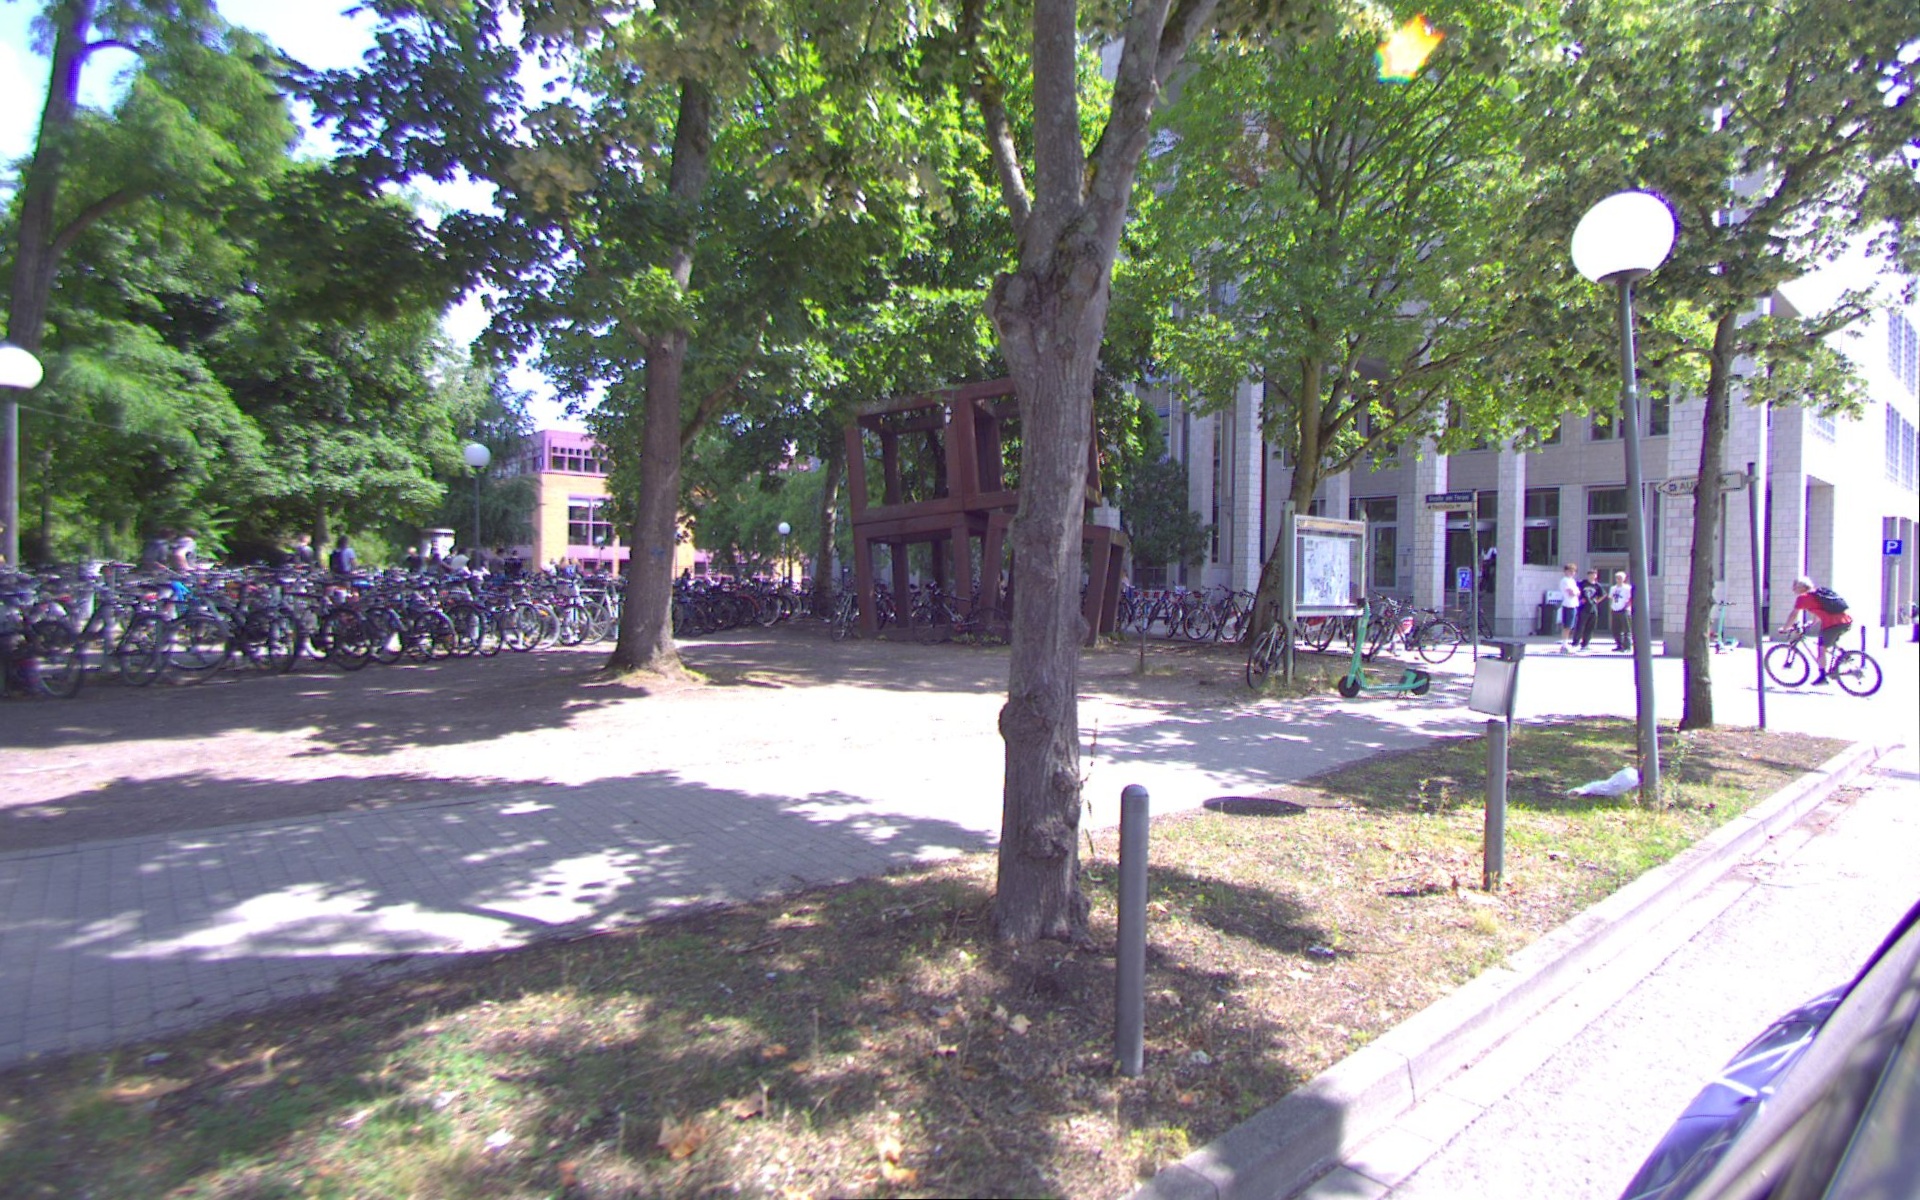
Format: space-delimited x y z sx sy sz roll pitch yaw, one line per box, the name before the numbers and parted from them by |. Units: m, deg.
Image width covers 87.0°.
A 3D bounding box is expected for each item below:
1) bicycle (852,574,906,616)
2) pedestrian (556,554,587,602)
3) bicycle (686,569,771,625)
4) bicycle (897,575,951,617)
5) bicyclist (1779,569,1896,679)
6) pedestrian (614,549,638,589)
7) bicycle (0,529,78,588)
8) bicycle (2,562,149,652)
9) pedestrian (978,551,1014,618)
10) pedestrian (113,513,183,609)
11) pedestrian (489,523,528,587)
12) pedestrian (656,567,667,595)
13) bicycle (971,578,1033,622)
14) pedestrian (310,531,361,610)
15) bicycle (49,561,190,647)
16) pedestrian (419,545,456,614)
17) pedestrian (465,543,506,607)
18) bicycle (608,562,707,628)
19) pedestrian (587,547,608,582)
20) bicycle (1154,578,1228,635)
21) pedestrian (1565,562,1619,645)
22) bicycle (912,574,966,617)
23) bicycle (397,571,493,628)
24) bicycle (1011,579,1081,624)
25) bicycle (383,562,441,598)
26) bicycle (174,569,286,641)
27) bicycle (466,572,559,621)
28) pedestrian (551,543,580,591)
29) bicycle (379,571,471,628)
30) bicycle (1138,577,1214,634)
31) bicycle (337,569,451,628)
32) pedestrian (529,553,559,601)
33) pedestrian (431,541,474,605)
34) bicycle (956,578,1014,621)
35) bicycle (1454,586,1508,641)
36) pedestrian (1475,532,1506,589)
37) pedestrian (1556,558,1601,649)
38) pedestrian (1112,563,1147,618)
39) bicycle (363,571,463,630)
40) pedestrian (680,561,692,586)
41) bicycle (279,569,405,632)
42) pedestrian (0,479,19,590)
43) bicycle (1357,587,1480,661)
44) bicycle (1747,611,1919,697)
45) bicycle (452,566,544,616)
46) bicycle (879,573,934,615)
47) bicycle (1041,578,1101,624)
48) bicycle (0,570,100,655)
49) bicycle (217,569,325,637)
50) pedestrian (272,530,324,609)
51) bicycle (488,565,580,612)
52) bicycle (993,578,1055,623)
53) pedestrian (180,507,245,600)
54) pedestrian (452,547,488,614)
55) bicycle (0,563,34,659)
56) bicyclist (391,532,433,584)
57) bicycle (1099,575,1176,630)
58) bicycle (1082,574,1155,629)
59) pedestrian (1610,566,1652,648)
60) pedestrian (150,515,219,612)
bicycle | -2.310 -0.127 29.047 0.453 1.144 1.661 -1 -2 44
pedestrian | -13.046 -0.739 34.010 0.731 1.589 0.721 2 1 1
bicycle | -5.138 -0.082 22.469 1.818 1.185 0.434 2 1 15
bicycle | -0.978 -0.097 27.980 0.453 1.144 1.661 -1 -2 44
bicyclist | 13.271 0.343 15.332 0.820 1.562 0.962 3 1 -15
pedestrian | -13.743 -1.272 41.617 0.730 1.589 0.721 1 1 -33
bicycle | -18.158 -0.821 19.832 1.586 1.107 0.477 2 2 12
bicycle | -11.663 0.071 13.345 1.875 1.096 0.477 2 2 14
pedestrian | 0.936 -0.401 26.426 0.427 1.725 0.929 0 -1 44
pedestrian | -15.579 -0.749 19.423 0.732 1.797 0.719 2 1 9
pedestrian | -13.141 -1.303 29.473 0.837 1.797 0.813 2 1 -8
pedestrian | -13.399 -0.862 45.410 0.379 1.227 0.403 1 1 -33
bicycle | 1.069 0.018 25.443 0.615 1.061 1.661 -1 -2 44
pedestrian | -14.623 -0.678 23.700 0.730 1.797 0.721 2 1 -3
bicycle | -11.575 0.039 13.933 1.875 1.096 0.477 2 2 14
pedestrian | -14.083 -0.552 27.281 0.729 1.797 0.722 1 1 -15
pedestrian | -13.815 -0.722 29.478 0.824 1.797 0.994 1 1 -11
bicycle | -5.780 -0.102 19.371 1.816 1.185 0.412 2 1 11
pedestrian | -16.449 -1.615 45.951 0.730 1.589 0.721 1 1 -33
bicycle | 4.848 0.143 21.234 1.664 1.139 0.482 2 1 -36
pedestrian | 14.181 0.072 22.723 0.796 1.819 0.619 1 1 6
bicycle | -0.562 -0.104 27.570 0.453 1.144 1.661 -1 -2 44
bicycle | -9.969 -0.015 19.600 1.714 1.035 0.477 2 2 9
bicycle | 2.078 0.043 24.395 1.663 1.061 0.618 1 -2 -33
bicycle | -15.892 -0.597 29.373 0.576 0.942 1.750 4 3 6
bicycle | -10.958 0.055 15.178 1.880 0.991 0.376 2 2 20
bicycle | -9.805 -0.084 22.195 1.871 0.991 0.478 2 2 6
pedestrian | -15.023 -1.260 38.550 0.732 1.812 0.720 2 1 5
bicycle | -10.233 -0.017 19.342 1.714 1.035 0.292 2 2 9
bicycle | 4.640 0.132 21.724 1.664 1.139 0.566 2 1 -36
bicycle | -10.176 -0.028 18.210 1.868 0.991 0.378 2 2 1
pedestrian | -13.930 -0.764 33.900 0.730 1.589 0.721 2 1 -4
pedestrian | -14.690 -0.767 29.320 0.824 1.797 0.994 1 1 -11
bicycle | 0.663 0.006 25.858 0.499 1.061 1.661 -1 -2 44
bicycle | 12.545 0.310 24.355 1.798 1.257 0.531 -1 2 -42
pedestrian | 16.542 -1.218 31.566 0.687 1.756 0.675 2 1 42
pedestrian | 13.389 0.063 21.902 0.675 1.914 0.685 -1 1 -44
pedestrian | 5.501 -0.322 32.871 0.930 1.762 0.741 1 1 30
bicycle | -10.245 0.000 18.968 1.714 1.035 0.477 2 2 9
pedestrian | -16.331 -1.582 60.280 0.445 1.446 0.594 4 2 11
bicycle | -10.323 0.001 16.925 1.867 0.991 0.379 2 2 0
pedestrian | -16.028 -1.075 16.326 0.954 1.797 0.963 2 1 27
bicycle | 7.587 0.389 16.772 1.749 1.155 0.607 1 3 -8
bicycle | 13.237 0.773 15.354 0.801 1.054 1.936 -3 3 -16
bicycle | -9.922 -0.207 21.748 1.874 0.991 0.477 2 2 12
bicycle | -1.485 -0.144 28.289 0.453 1.144 1.661 -1 -2 44
bicycle | 2.630 0.038 23.801 0.566 1.061 1.671 -1 -2 41
bicycle | -11.836 0.135 12.744 1.873 0.991 0.477 2 2 11
bicycle | -10.853 0.033 15.933 1.880 0.991 0.376 2 2 20
pedestrian | -15.509 -0.709 23.717 0.730 1.797 0.721 2 1 -3
bicycle | -9.643 -0.265 22.932 1.868 0.991 0.479 2 2 0
bicycle | 1.592 0.024 24.948 0.615 1.061 1.661 -1 -2 44
pedestrian | -14.873 -0.917 20.141 0.735 1.797 0.717 2 1 18
pedestrian | -13.332 -0.529 27.571 0.729 1.797 0.722 1 1 -15
bicycle | -11.985 0.100 12.033 1.875 1.096 0.477 2 2 14
bicyclist | -15.903 -1.200 29.394 0.732 1.464 0.802 2 1 6
bicycle | 3.909 0.061 22.194 1.664 1.139 0.628 2 1 -36
bicycle | 3.590 0.034 22.857 1.666 1.164 0.627 2 2 -40
pedestrian | 14.712 0.137 22.201 0.533 1.750 0.613 0 1 -40
pedestrian | -14.790 -0.696 19.303 0.732 1.797 0.719 2 1 9
